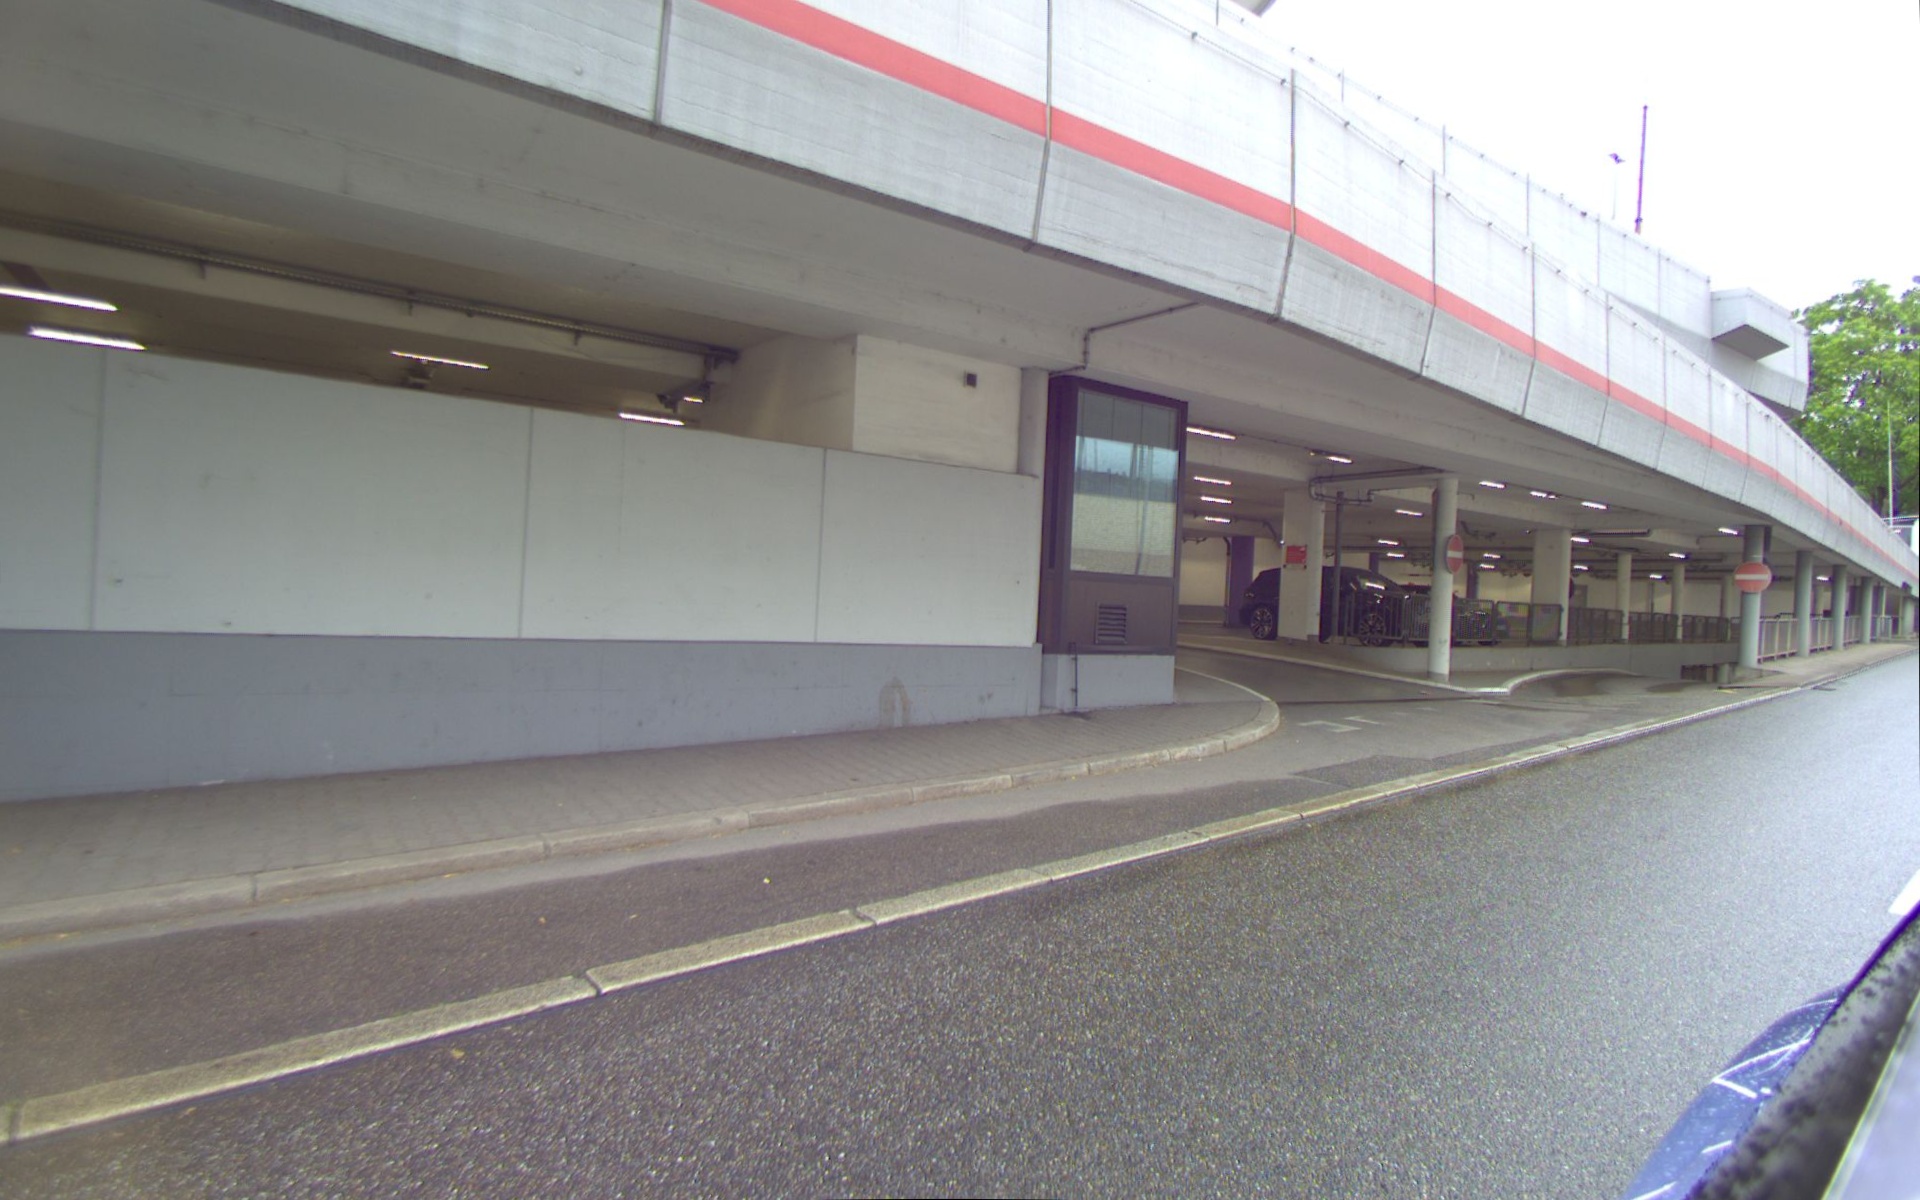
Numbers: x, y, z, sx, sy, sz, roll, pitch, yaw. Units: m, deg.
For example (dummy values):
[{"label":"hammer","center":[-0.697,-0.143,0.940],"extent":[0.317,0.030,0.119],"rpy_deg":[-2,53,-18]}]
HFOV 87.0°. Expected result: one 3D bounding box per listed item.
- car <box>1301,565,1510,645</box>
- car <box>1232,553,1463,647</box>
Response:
[{"label":"car","center":[10.763,0.089,24.757],"extent":[1.960,1.682,4.261],"rpy_deg":[5,-2,-31]},{"label":"car","center":[8.165,-0.019,21.716],"extent":[1.960,1.682,4.261],"rpy_deg":[5,-2,-31]}]
